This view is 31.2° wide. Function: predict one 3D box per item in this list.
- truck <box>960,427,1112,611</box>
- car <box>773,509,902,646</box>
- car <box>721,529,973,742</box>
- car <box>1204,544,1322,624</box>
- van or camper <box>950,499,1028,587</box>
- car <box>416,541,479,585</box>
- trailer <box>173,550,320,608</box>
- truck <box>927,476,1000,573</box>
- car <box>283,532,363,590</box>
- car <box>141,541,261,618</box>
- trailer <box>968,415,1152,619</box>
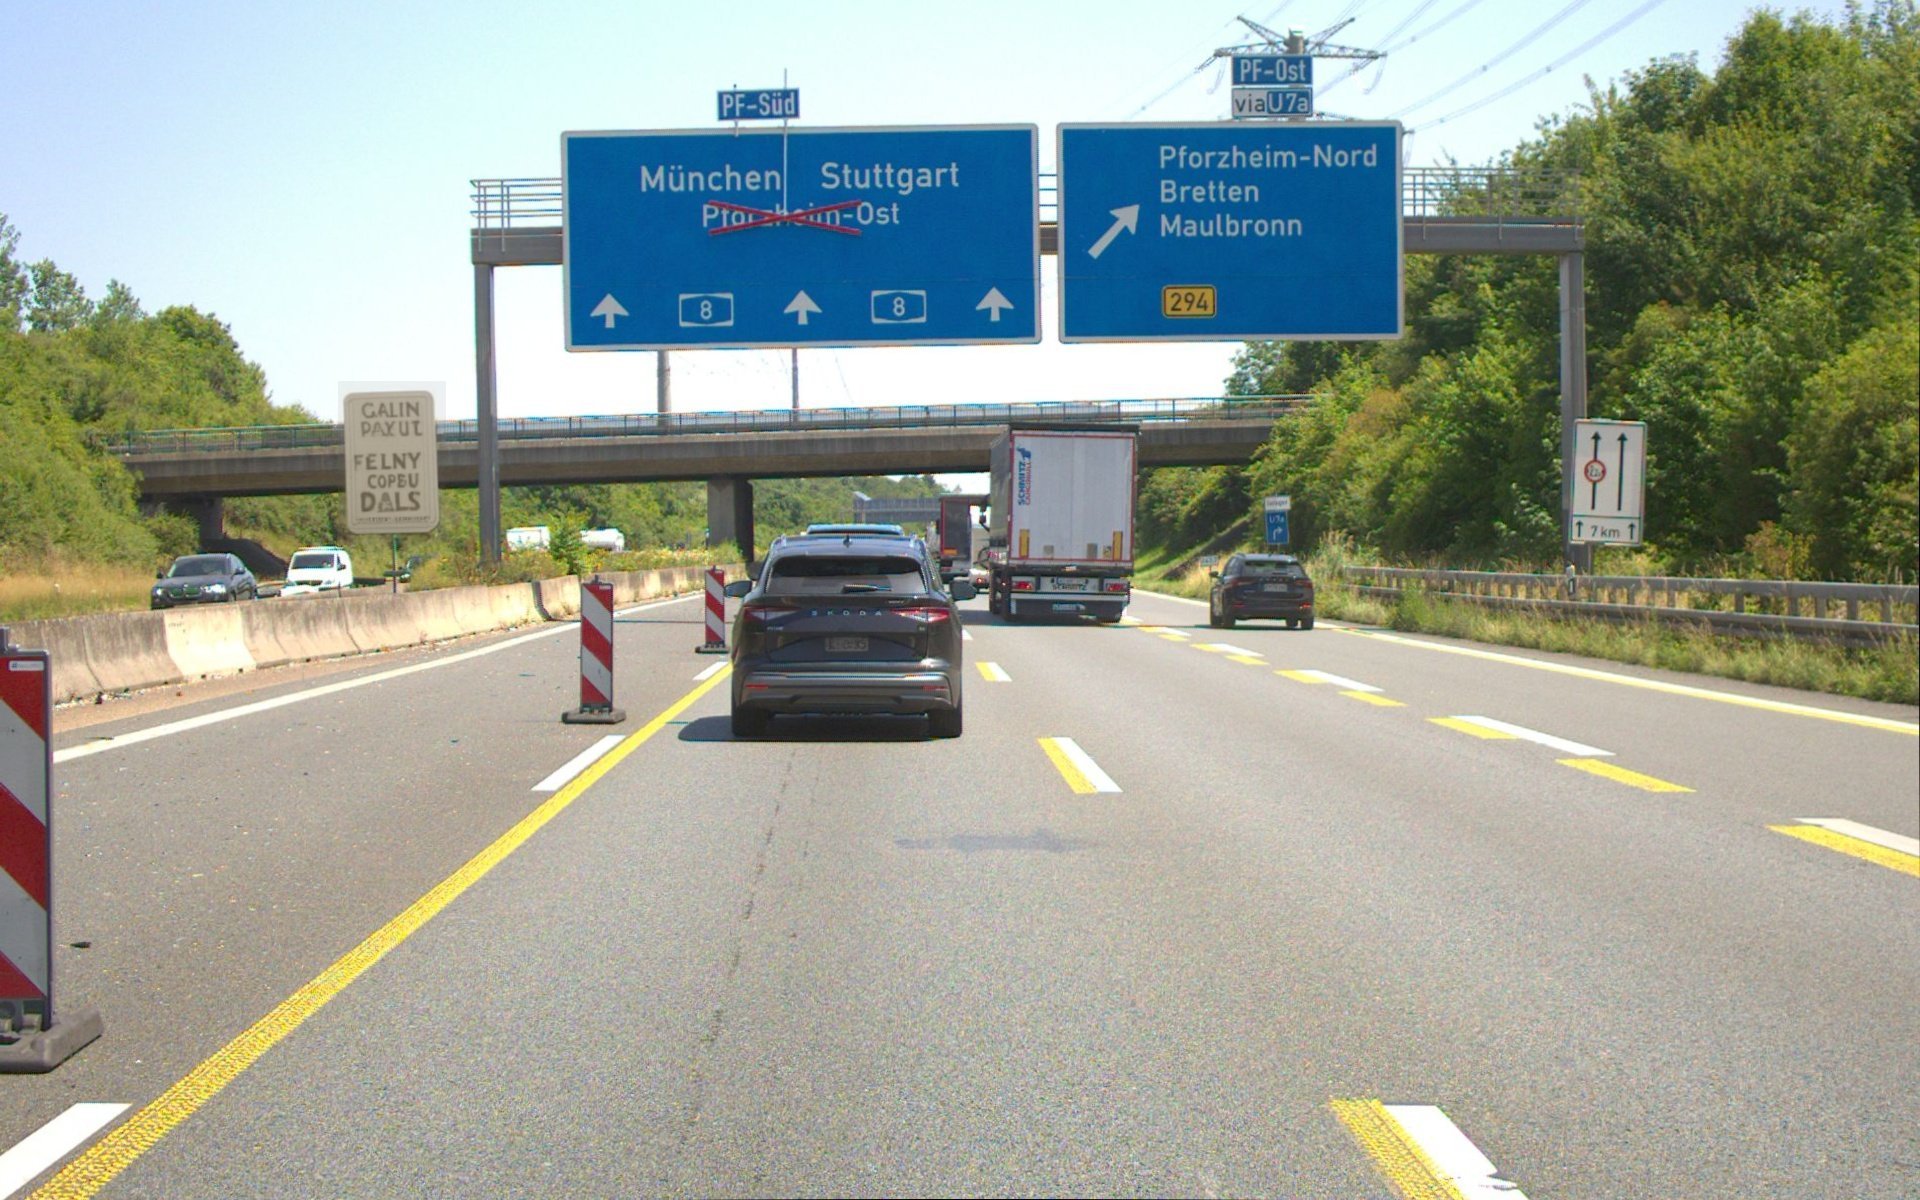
[{"bbox_3d":[1.692,-1.876,80.597,3.024,4.073,7.796,0,1,-3],"label":"truck"},{"bbox_3d":[-1.946,-0.402,54.573,1.895,1.835,4.444,2,4,-2],"label":"car"},{"bbox_3d":[-0.940,0.224,28.344,1.895,1.586,4.443,-1,1,-2],"label":"car"},{"bbox_3d":[5.935,-0.346,67.782,1.779,1.484,4.464,1,1,-2],"label":"car"},{"bbox_3d":[0.962,-1.969,118.740,2.586,2.958,6.085,0,1,0],"label":"van or camper"},{"bbox_3d":[-20.223,-1.478,135.866,1.872,1.688,4.498,-1,1,-1],"label":"car"},{"bbox_3d":[-17.883,-0.554,86.533,2.356,1.339,7.217,-1,1,-1],"label":"trailer"},{"bbox_3d":[0.122,-3.354,154.883,3.078,4.132,13.055,1,1,0],"label":"truck"},{"bbox_3d":[-22.735,-1.404,122.906,1.930,2.007,5.597,-1,1,-1],"label":"car"},{"bbox_3d":[-17.751,-0.503,80.598,1.913,1.747,4.566,1,1,-1],"label":"car"},{"bbox_3d":[1.995,-1.754,73.876,3.065,4.028,11.489,0,1,-3],"label":"trailer"}]
